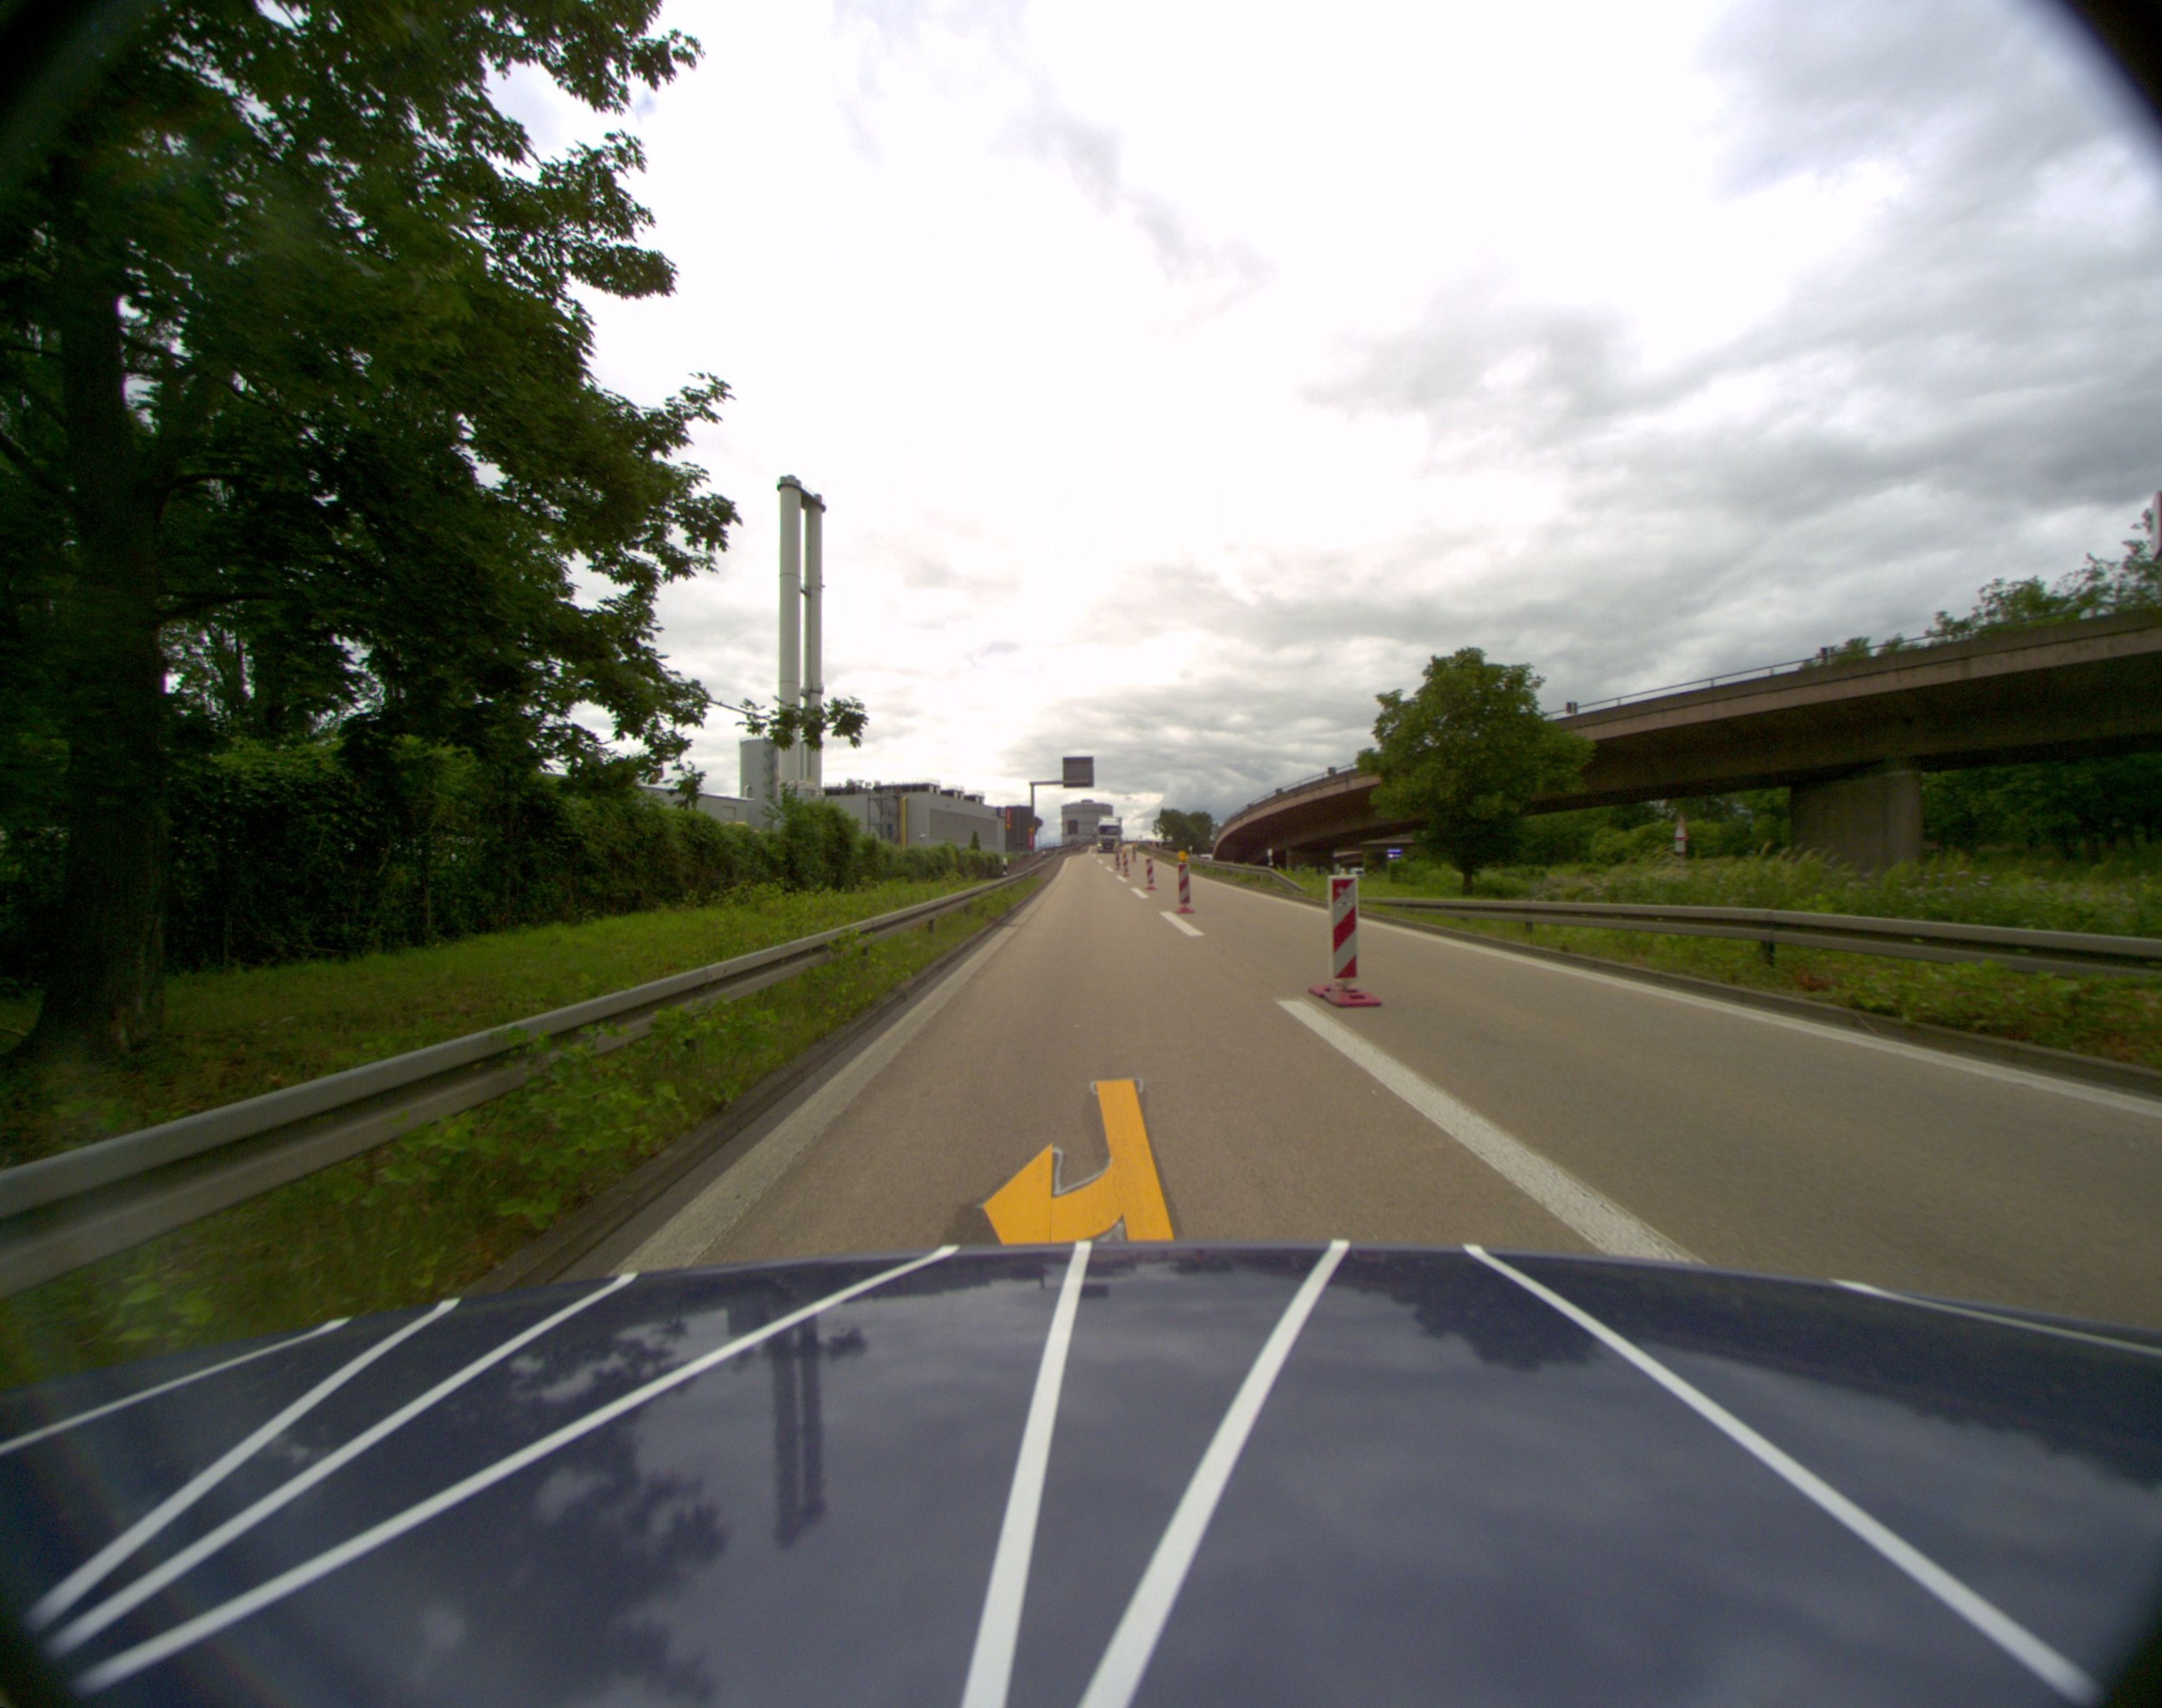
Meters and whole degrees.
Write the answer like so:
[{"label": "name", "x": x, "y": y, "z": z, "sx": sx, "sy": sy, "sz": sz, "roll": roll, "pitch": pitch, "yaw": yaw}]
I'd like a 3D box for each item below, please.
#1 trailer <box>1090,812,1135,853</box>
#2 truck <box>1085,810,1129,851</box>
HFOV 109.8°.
[{"label": "trailer", "x": 3.958, "y": -2.424, "z": 91.065, "sx": 4.123, "sy": 4.218, "sz": 13.901, "roll": -1, "pitch": -1, "yaw": 7}, {"label": "truck", "x": 2.986, "y": -2.545, "z": 84.995, "sx": 4.162, "sy": 4.277, "sz": 5.969, "roll": -1, "pitch": -1, "yaw": 8}]
